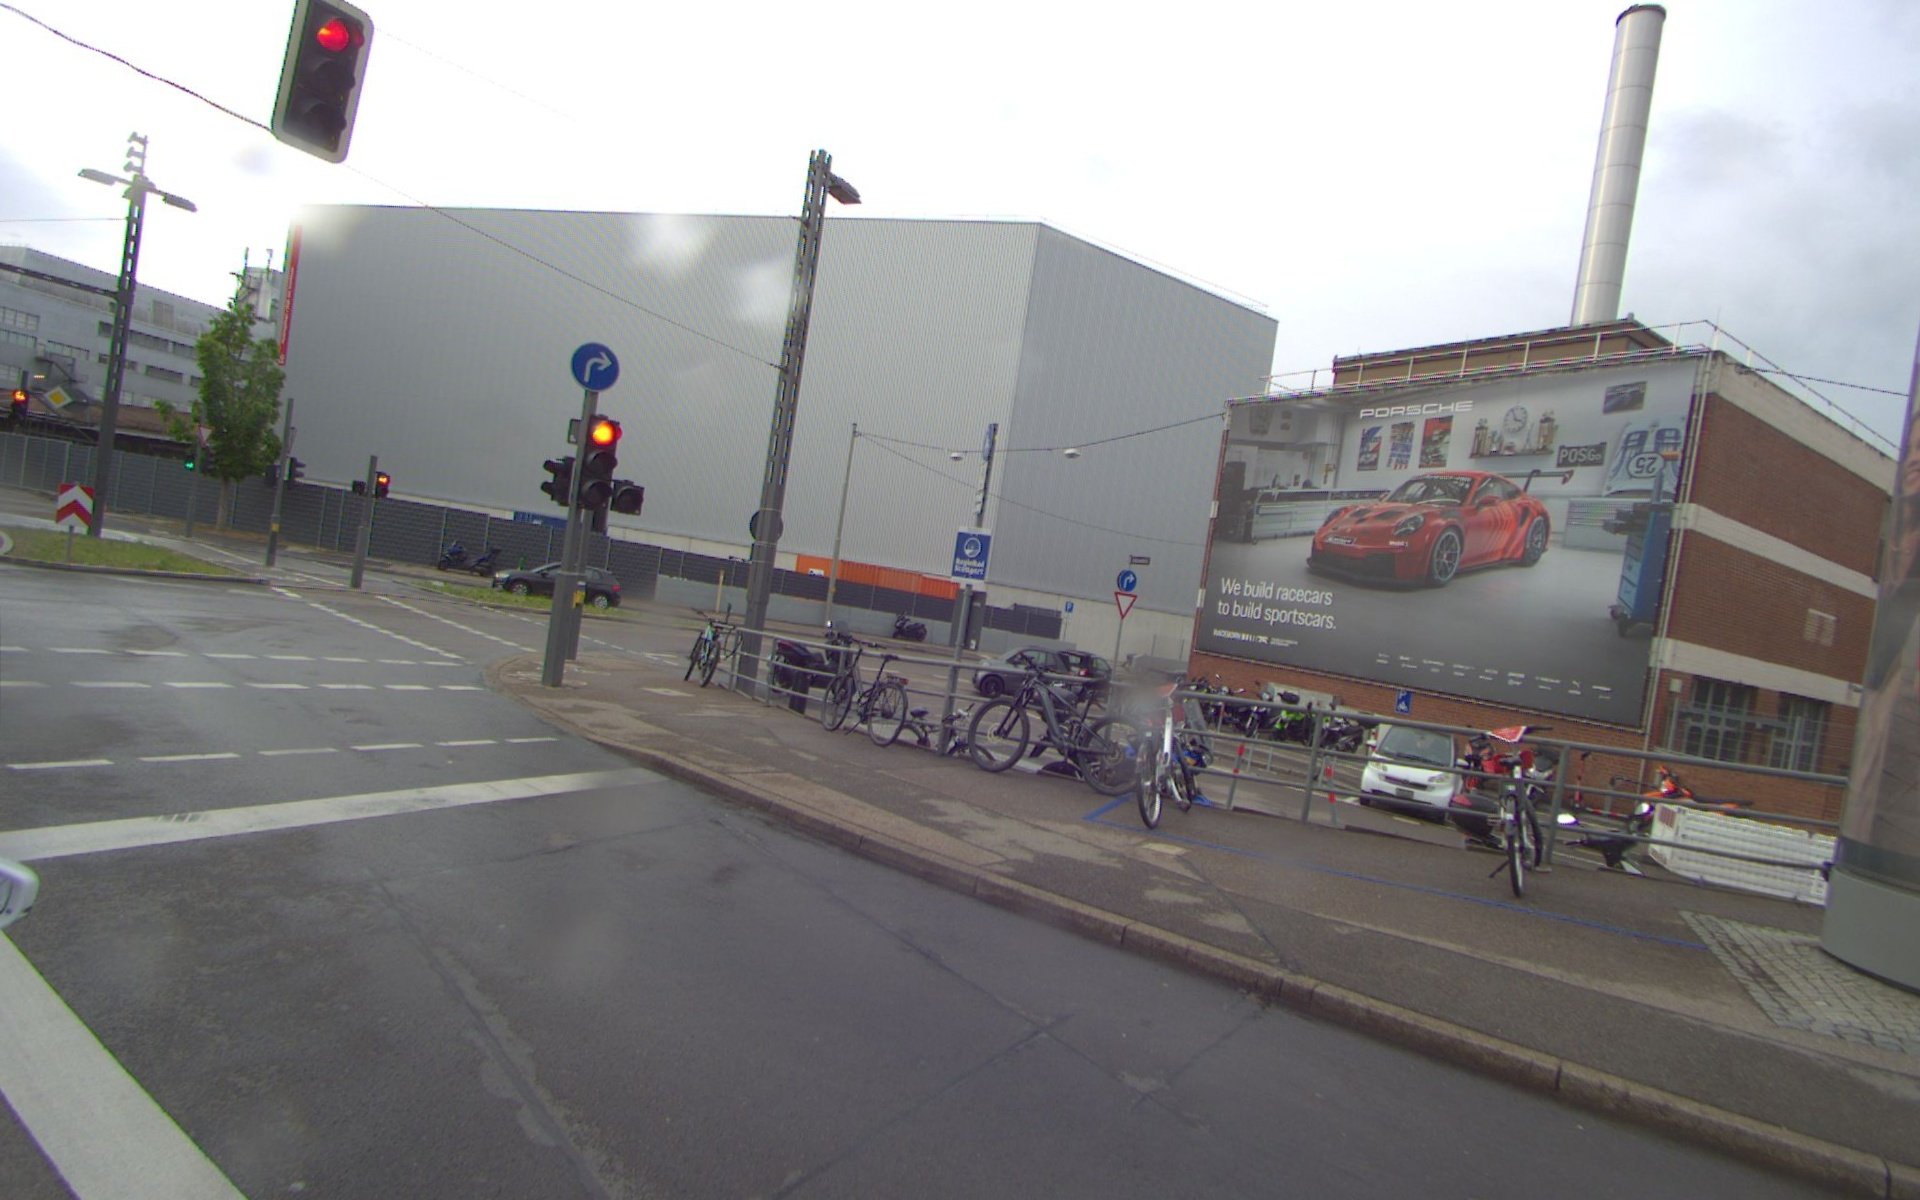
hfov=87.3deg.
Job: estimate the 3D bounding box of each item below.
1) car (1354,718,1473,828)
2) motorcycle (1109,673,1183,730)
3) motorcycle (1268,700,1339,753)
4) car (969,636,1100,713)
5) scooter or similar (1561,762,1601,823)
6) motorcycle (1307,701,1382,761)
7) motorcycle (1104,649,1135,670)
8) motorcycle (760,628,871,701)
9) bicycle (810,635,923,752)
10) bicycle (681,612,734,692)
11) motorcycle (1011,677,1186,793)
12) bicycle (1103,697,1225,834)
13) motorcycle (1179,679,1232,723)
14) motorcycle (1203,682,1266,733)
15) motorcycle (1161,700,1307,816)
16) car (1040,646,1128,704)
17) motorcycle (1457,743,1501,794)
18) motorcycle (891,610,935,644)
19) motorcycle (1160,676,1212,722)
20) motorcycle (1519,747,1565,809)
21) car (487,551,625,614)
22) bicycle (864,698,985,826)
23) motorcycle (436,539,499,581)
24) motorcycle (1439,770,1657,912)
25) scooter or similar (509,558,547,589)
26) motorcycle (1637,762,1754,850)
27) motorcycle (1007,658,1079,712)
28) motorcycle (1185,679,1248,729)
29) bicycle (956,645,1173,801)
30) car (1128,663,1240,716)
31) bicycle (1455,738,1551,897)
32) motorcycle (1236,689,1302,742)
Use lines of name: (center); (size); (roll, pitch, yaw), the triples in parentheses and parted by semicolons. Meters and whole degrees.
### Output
car: (8.538, 3.116, 18.756); (1.541, 1.506, 3.996); (8, -1, 29)
motorcycle: (4.459, 2.437, 24.232); (0.539, 1.123, 1.850); (8, -2, -32)
motorcycle: (8.561, 3.165, 25.078); (1.789, 1.132, 0.474); (8, -2, -28)
car: (1.980, 2.007, 27.390); (3.190, 1.521, 1.624); (9, 0, -4)
scooter or similar: (12.897, 3.977, 20.886); (0.496, 1.109, 1.635); (6, -2, 36)
motorcycle: (9.333, 3.188, 24.398); (1.788, 1.253, 0.540); (8, 1, -30)
motorcycle: (10.183, 3.786, 64.104); (0.622, 1.088, 1.906); (8, 0, -38)
motorcycle: (-2.608, 1.200, 18.386); (0.481, 1.158, 2.086); (6, -3, 41)
bicycle: (-1.089, 1.017, 11.341); (0.344, 1.097, 1.728); (7, -1, -35)
bicycle: (-4.090, 0.802, 16.229); (0.416, 1.143, 2.064); (7, -2, -22)
motorcycle: (1.394, 1.361, 10.395); (1.722, 0.906, 0.545); (6, -1, 44)
bicycle: (1.750, 1.328, 8.434); (0.414, 0.973, 1.744); (6, -1, 29)
motorcycle: (7.463, 3.074, 30.653); (0.538, 1.123, 1.639); (8, -2, -25)
motorcycle: (7.431, 2.921, 27.233); (1.631, 1.194, 0.541); (8, -2, -30)
motorcycle: (2.663, 1.507, 9.780); (1.241, 0.901, 0.434); (6, 0, 23)
car: (4.129, 2.485, 33.278); (1.530, 1.510, 2.745); (11, 0, 37)
motorcycle: (11.366, 3.664, 22.011); (0.533, 0.984, 1.613); (6, -2, 36)
motorcycle: (-2.419, 1.406, 51.876); (2.082, 1.393, 0.649); (10, 0, -33)
motorcycle: (6.662, 2.910, 29.740); (0.538, 1.133, 1.593); (8, -2, -25)
motorcycle: (12.357, 3.752, 21.334); (0.576, 1.165, 1.717); (6, -2, 36)
car: (-13.492, -0.576, 33.629); (3.958, 1.442, 1.707); (9, -1, -30)
bicycle: (-0.427, 1.755, 11.141); (0.344, 1.097, 1.728); (7, -1, -35)
motorcycle: (-19.820, -1.601, 40.503); (2.082, 1.326, 0.649); (10, 0, -33)
motorcycle: (5.074, 2.071, 8.761); (1.512, 0.901, 0.403); (6, 0, 19)
scooter or similar: (-17.855, -1.088, 41.564); (1.247, 1.041, 0.385); (9, 0, 0)
motorcycle: (14.160, 3.954, 19.409); (1.639, 1.349, 0.524); (6, -1, 21)
motorcycle: (2.115, 2.168, 25.629); (1.702, 1.159, 0.492); (8, -2, -24)
motorcycle: (7.250, 2.935, 28.417); (1.631, 1.194, 0.670); (8, -2, -30)
bicycle: (0.973, 1.145, 9.717); (1.981, 1.189, 0.400); (6, 0, 30)
car: (8.231, 3.309, 36.847); (4.070, 1.460, 1.554); (9, -2, -35)
bicycle: (4.048, 1.550, 7.451); (0.414, 0.933, 1.613); (8, 0, 32)
motorcycle: (8.093, 3.027, 26.358); (1.695, 1.194, 0.541); (8, -2, -30)
